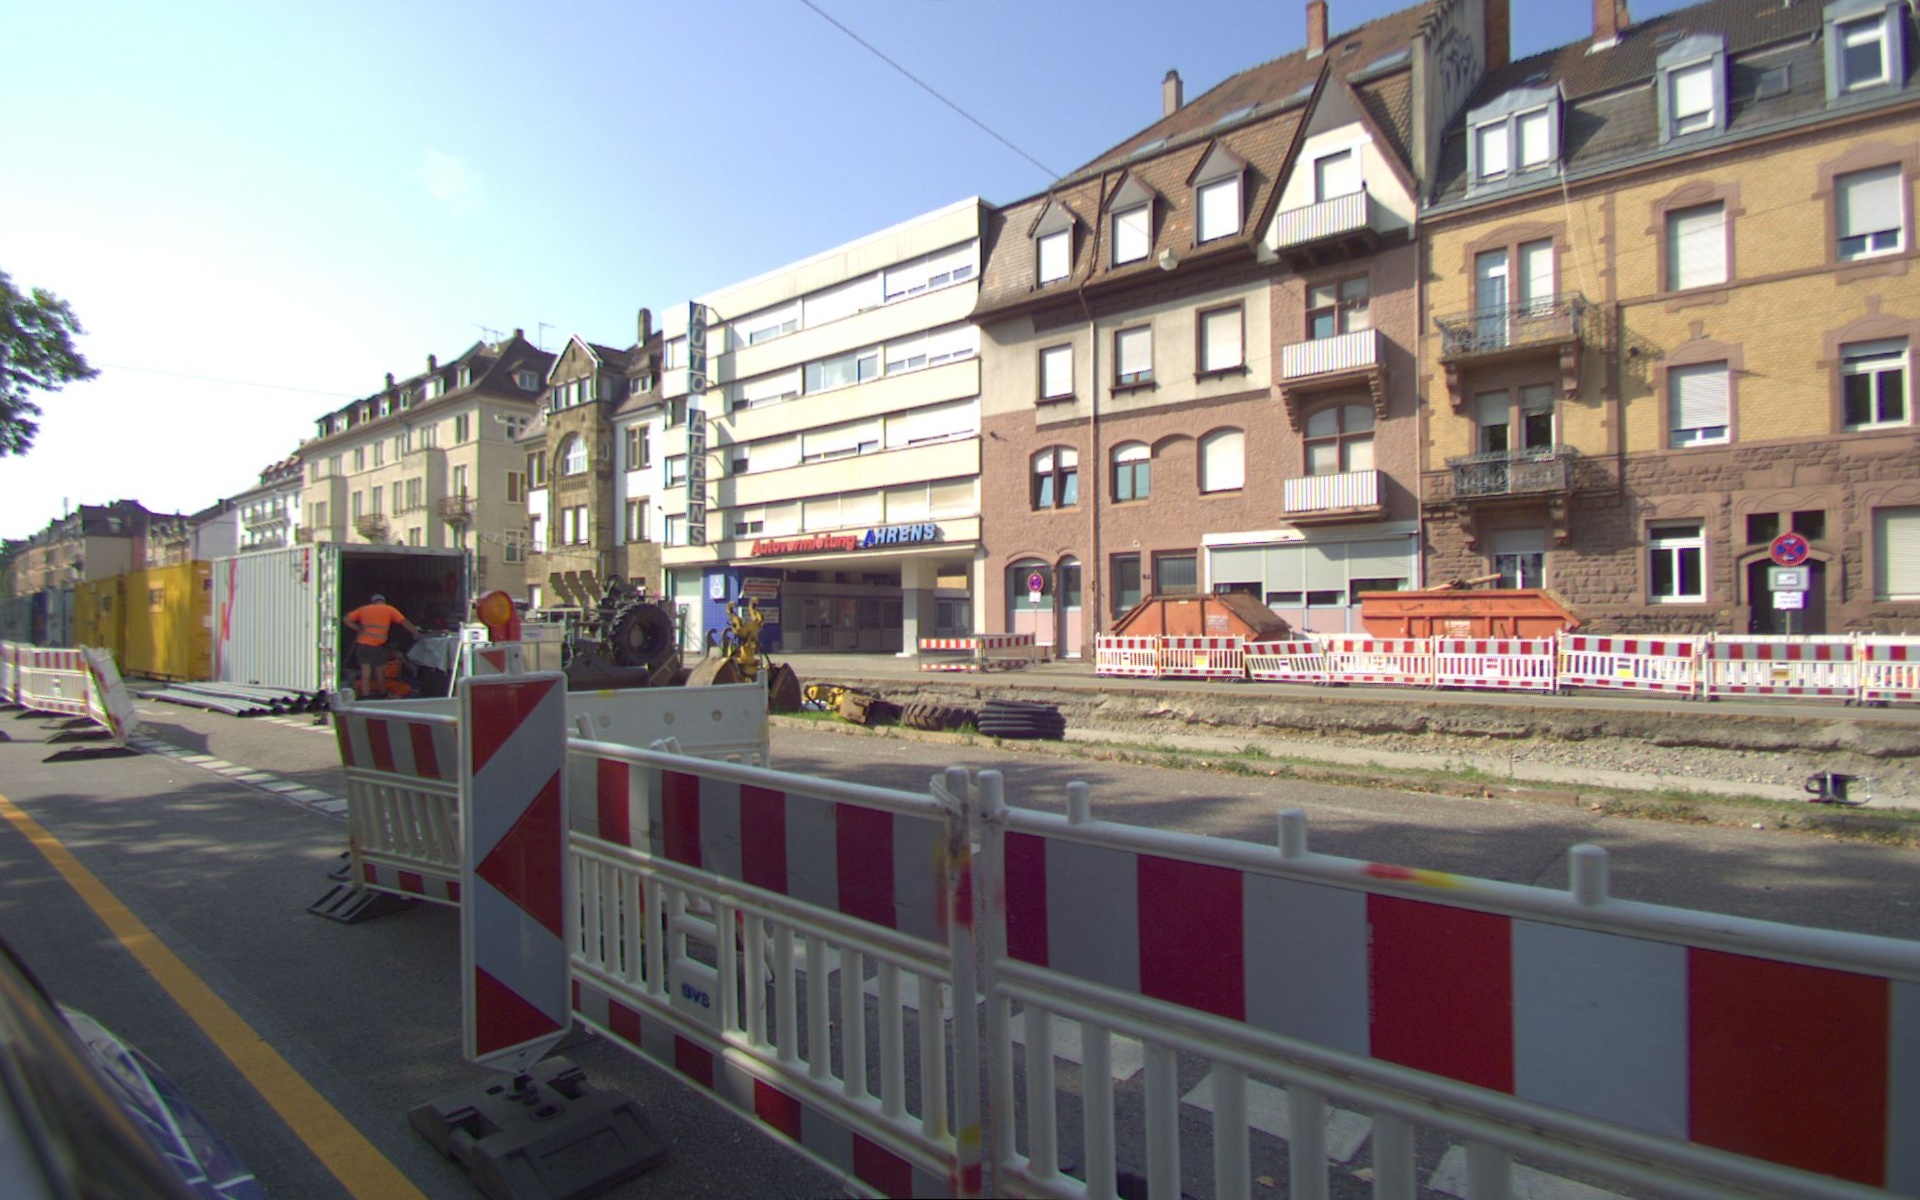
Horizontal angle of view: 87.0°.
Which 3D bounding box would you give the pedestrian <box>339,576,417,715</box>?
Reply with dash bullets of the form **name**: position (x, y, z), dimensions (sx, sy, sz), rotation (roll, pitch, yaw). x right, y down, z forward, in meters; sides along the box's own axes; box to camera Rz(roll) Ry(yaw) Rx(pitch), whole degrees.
- **pedestrian**: position (-8.855, 0.666, 15.441), dimensions (0.896, 2.029, 0.915), rotation (-1, 0, -23)
